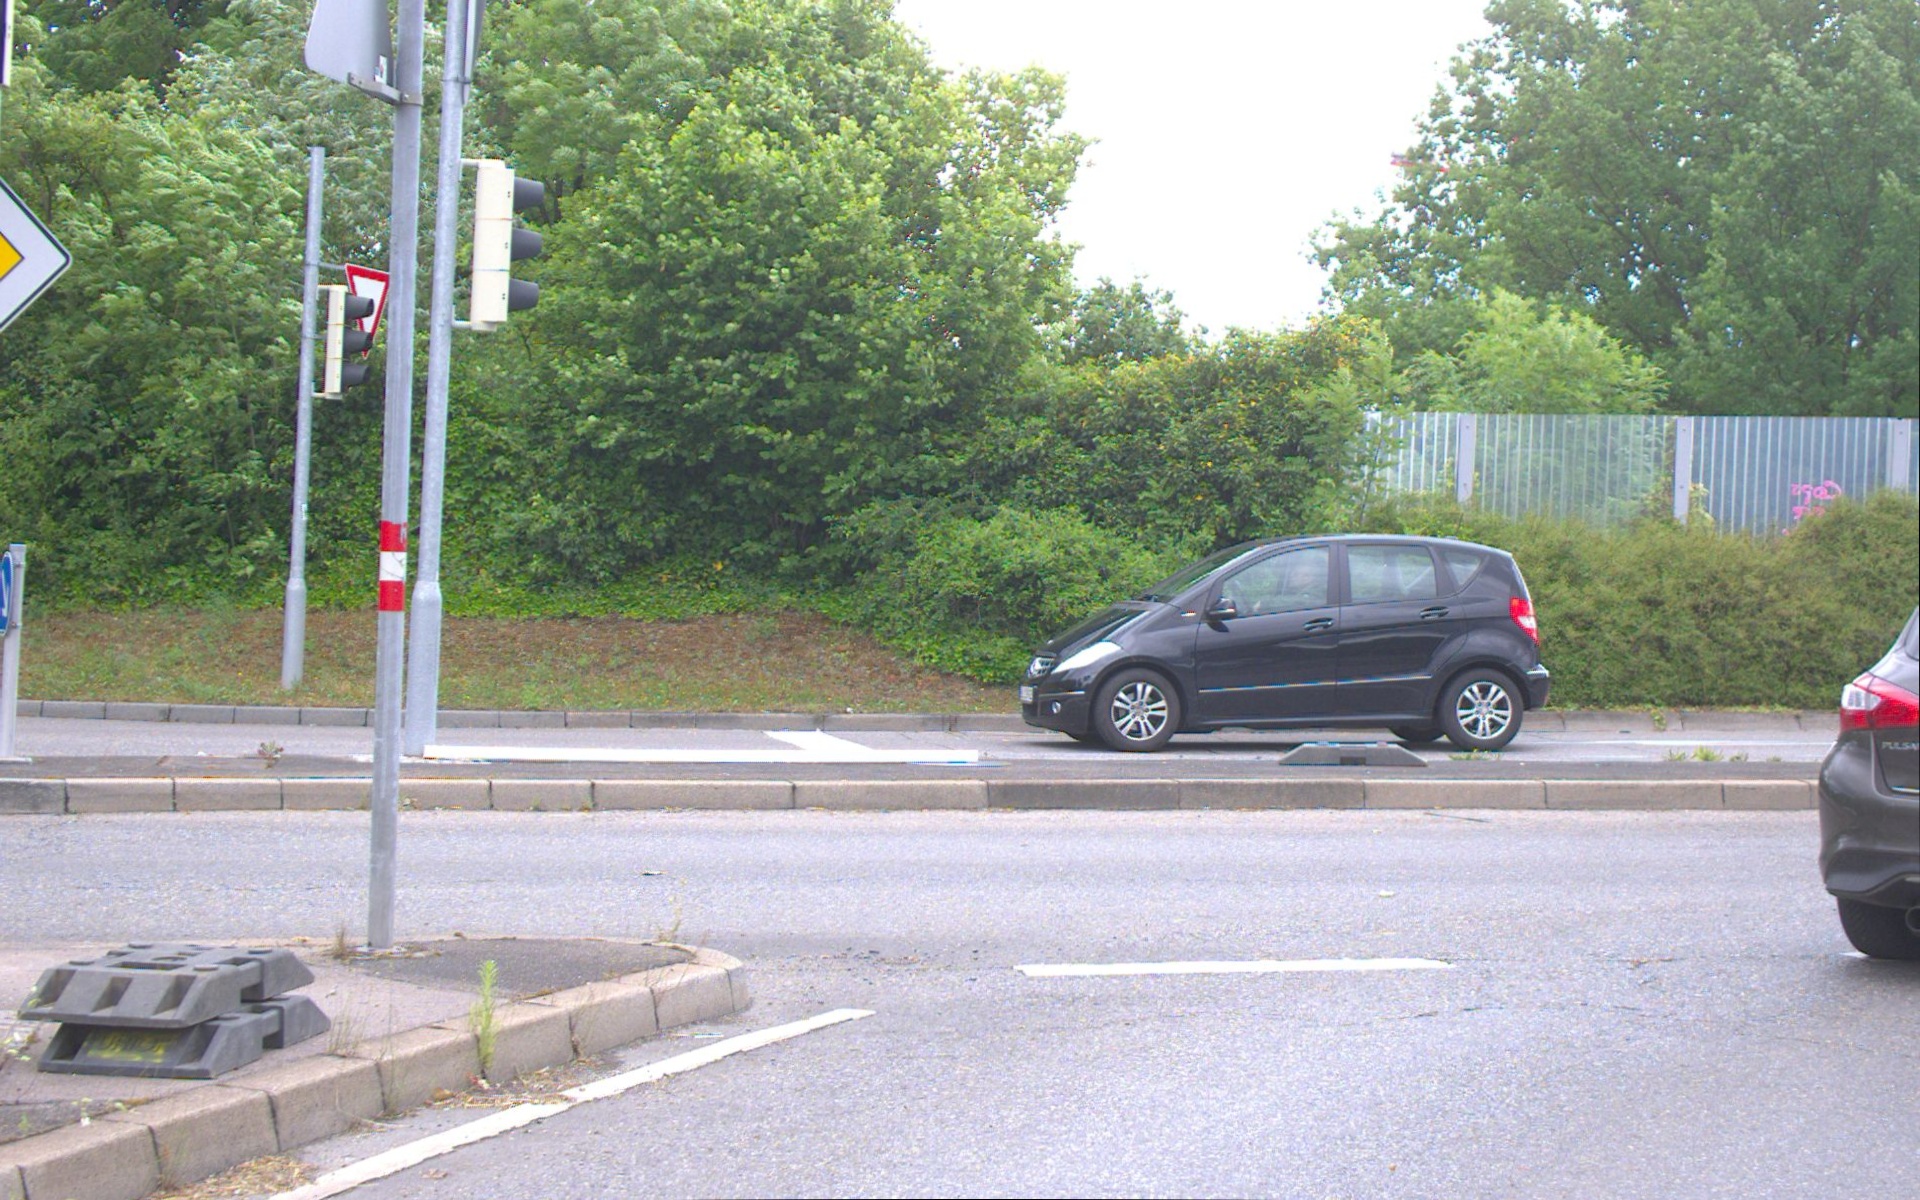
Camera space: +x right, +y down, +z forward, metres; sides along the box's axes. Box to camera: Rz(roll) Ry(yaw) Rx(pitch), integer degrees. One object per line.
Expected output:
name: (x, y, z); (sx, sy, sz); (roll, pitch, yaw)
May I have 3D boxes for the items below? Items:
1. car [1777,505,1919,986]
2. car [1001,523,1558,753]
car: (4.664, 0.480, 12.414); (1.802, 1.547, 3.991); (2, 1, 38)
car: (2.328, 0.289, 25.479); (3.775, 1.547, 1.644); (2, -1, -9)
